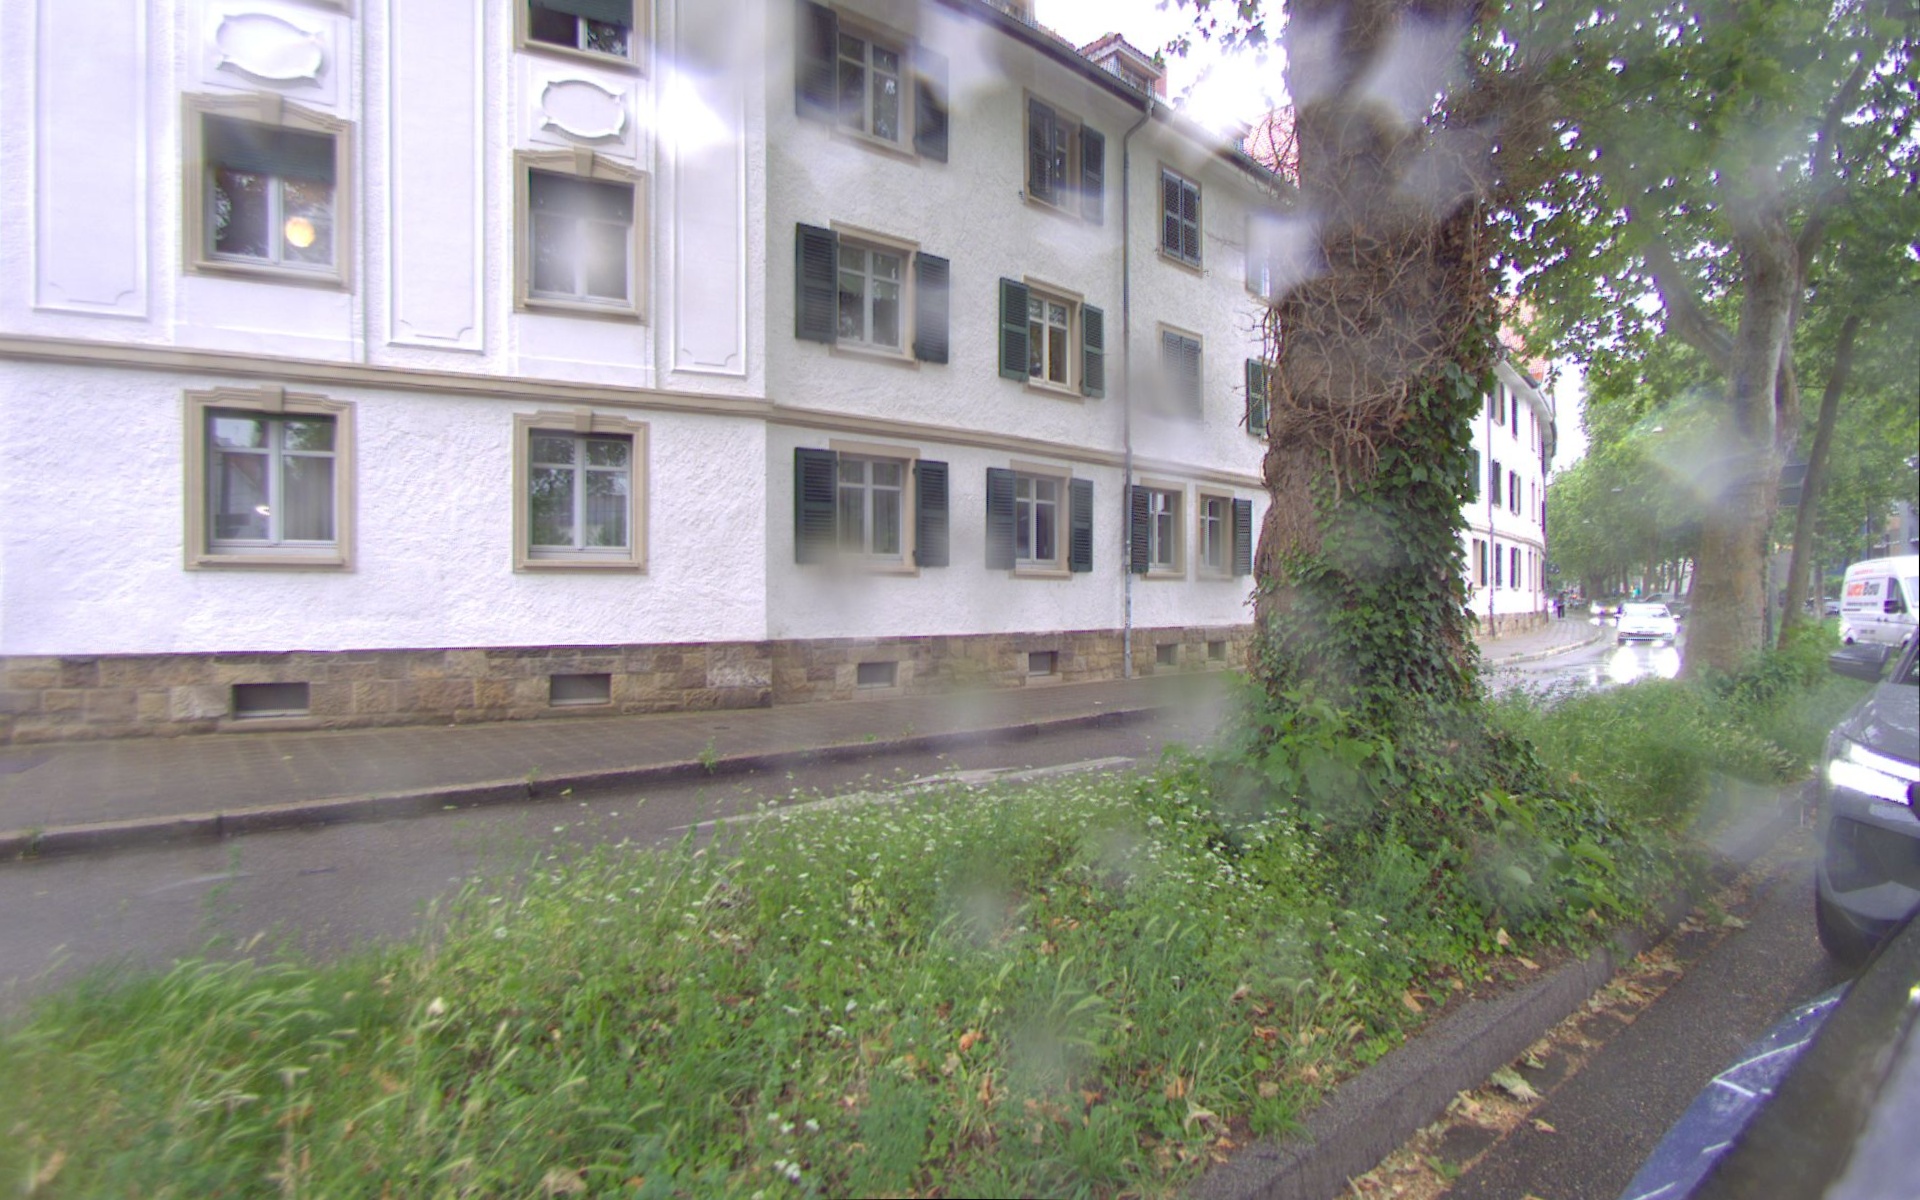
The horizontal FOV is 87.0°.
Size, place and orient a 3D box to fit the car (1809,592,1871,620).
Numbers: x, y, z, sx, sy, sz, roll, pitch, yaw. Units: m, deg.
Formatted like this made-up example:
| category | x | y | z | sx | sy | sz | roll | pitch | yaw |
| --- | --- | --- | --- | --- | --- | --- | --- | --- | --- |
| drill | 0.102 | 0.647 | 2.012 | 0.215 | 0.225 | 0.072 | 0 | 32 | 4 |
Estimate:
| category | x | y | z | sx | sy | sz | roll | pitch | yaw |
| --- | --- | --- | --- | --- | --- | --- | --- | --- | --- |
| car | 47.963 | 0.299 | 55.226 | 1.703 | 1.478 | 3.712 | 0 | 1 | 28 |

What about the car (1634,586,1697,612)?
| category | x | y | z | sx | sy | sz | roll | pitch | yaw |
| --- | --- | --- | --- | --- | --- | --- | --- | --- | --- |
| car | 55.953 | -0.073 | 80.336 | 3.969 | 2.039 | 1.977 | 0 | 0 | 32 |

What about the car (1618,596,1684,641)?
| category | x | y | z | sx | sy | sz | roll | pitch | yaw |
| --- | --- | --- | --- | --- | --- | --- | --- | --- | --- |
| car | 26.084 | 0.648 | 38.153 | 1.823 | 1.545 | 3.945 | 0 | 1 | 38 |

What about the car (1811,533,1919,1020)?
| category | x | y | z | sx | sy | sz | roll | pitch | yaw |
| --- | --- | --- | --- | --- | --- | --- | --- | --- | --- |
| car | 5.189 | 0.582 | 4.349 | 4.039 | 1.662 | 1.913 | -1 | 1 | -44 |

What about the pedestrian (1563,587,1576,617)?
| category | x | y | z | sx | sy | sz | roll | pitch | yaw |
| --- | --- | --- | --- | --- | --- | --- | --- | --- | --- |
| pedestrian | 38.126 | 0.100 | 63.275 | 0.668 | 1.845 | 0.672 | 0 | 0 | 31 |

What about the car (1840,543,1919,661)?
| category | x | y | z | sx | sy | sz | roll | pitch | yaw |
| --- | --- | --- | --- | --- | --- | --- | --- | --- | --- |
| car | 20.905 | 0.015 | 21.514 | 2.177 | 2.292 | 5.357 | 0 | 0 | 29 |

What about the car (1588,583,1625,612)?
| category | x | y | z | sx | sy | sz | roll | pitch | yaw |
| --- | --- | --- | --- | --- | --- | --- | --- | --- | --- |
| car | 51.095 | -0.231 | 80.015 | 1.983 | 2.038 | 3.961 | 5 | 3 | 28 |
